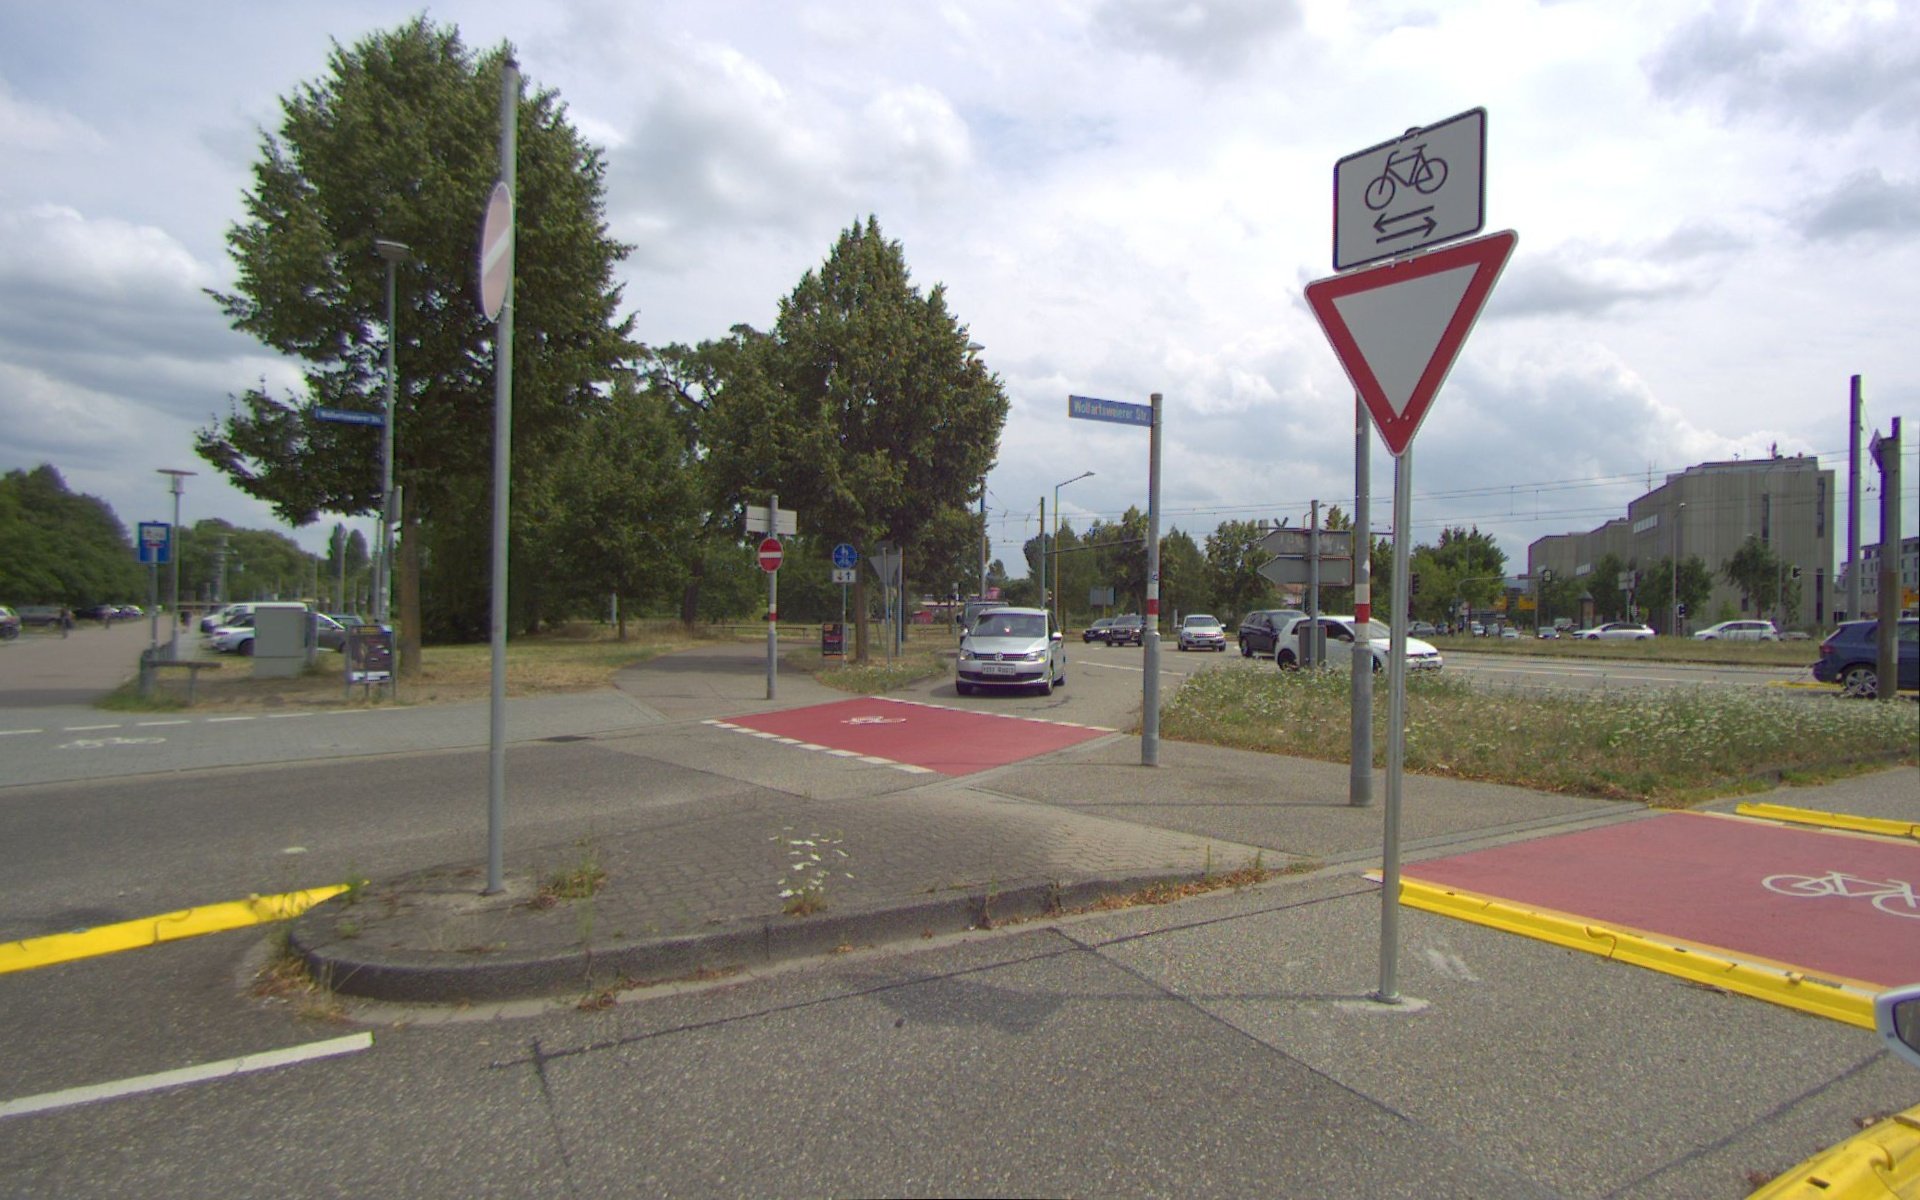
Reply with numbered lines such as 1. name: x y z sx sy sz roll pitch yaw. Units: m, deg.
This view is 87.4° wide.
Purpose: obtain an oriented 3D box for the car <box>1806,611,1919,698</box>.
1. car: 17.963 0.987 18.013 1.788 1.517 4.067 1 -1 -41

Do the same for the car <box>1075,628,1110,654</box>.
1. car: 7.902 2.421 59.719 1.599 1.433 3.724 -1 -2 14

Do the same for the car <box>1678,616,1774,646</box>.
1. car: 47.083 1.900 61.864 4.268 1.688 1.939 1 0 16

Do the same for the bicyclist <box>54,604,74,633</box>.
1. bicyclist: -44.696 0.936 50.104 0.595 1.442 0.797 1 -1 -30

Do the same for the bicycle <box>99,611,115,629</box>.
1. bicycle: -56.738 1.320 66.827 0.773 1.191 2.203 1 -1 -41

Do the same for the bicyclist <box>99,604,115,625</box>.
1. bicyclist: -56.723 0.968 66.808 0.774 1.423 0.720 1 -1 -41

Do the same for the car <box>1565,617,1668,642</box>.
1. car: 41.509 1.853 63.603 5.079 1.502 2.001 1 -1 16

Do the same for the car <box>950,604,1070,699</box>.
1. car: 1.129 0.939 20.150 1.765 1.644 4.751 1 -1 10

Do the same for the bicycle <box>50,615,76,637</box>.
1. bicycle: -44.657 1.305 50.029 0.595 1.060 1.815 1 -1 -30

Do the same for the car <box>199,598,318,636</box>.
1. car: -40.688 1.004 58.361 5.523 2.083 2.176 2 -1 -40

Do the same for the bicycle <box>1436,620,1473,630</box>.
1. bicycle: 41.853 2.103 85.029 2.605 0.866 0.865 1 -1 6

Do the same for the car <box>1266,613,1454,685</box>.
1. car: 9.321 1.078 23.797 1.774 1.517 4.241 1 -1 -20

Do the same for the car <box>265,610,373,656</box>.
1. car: -22.158 1.122 34.769 2.896 1.442 1.464 -1 0 -44

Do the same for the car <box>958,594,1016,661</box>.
1. car: 0.922 0.988 37.154 1.961 2.303 5.160 1 -1 0

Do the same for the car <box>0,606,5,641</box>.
1. car: -42.331 0.964 41.482 3.973 1.487 1.797 2 -1 -39

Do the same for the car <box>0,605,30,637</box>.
1. car: -46.034 0.959 46.682 3.973 1.487 1.797 2 -1 -39

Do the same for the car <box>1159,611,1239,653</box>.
1. car: 9.507 1.231 40.276 1.700 1.554 4.366 1 -1 -7

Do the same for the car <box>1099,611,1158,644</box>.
1. car: 8.060 1.306 48.424 1.796 1.482 4.257 1 -1 -5

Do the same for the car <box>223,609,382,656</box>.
1. car: -23.887 1.145 36.602 4.668 1.491 1.812 -1 1 -40

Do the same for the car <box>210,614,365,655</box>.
1. car: -25.769 1.321 38.606 4.844 1.491 1.814 2 -1 -37

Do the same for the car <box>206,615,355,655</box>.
1. car: -27.292 1.387 40.431 4.844 1.491 1.814 2 -1 -37

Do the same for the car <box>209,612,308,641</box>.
1. car: -37.847 1.435 54.236 4.272 1.491 1.814 2 -1 -37
